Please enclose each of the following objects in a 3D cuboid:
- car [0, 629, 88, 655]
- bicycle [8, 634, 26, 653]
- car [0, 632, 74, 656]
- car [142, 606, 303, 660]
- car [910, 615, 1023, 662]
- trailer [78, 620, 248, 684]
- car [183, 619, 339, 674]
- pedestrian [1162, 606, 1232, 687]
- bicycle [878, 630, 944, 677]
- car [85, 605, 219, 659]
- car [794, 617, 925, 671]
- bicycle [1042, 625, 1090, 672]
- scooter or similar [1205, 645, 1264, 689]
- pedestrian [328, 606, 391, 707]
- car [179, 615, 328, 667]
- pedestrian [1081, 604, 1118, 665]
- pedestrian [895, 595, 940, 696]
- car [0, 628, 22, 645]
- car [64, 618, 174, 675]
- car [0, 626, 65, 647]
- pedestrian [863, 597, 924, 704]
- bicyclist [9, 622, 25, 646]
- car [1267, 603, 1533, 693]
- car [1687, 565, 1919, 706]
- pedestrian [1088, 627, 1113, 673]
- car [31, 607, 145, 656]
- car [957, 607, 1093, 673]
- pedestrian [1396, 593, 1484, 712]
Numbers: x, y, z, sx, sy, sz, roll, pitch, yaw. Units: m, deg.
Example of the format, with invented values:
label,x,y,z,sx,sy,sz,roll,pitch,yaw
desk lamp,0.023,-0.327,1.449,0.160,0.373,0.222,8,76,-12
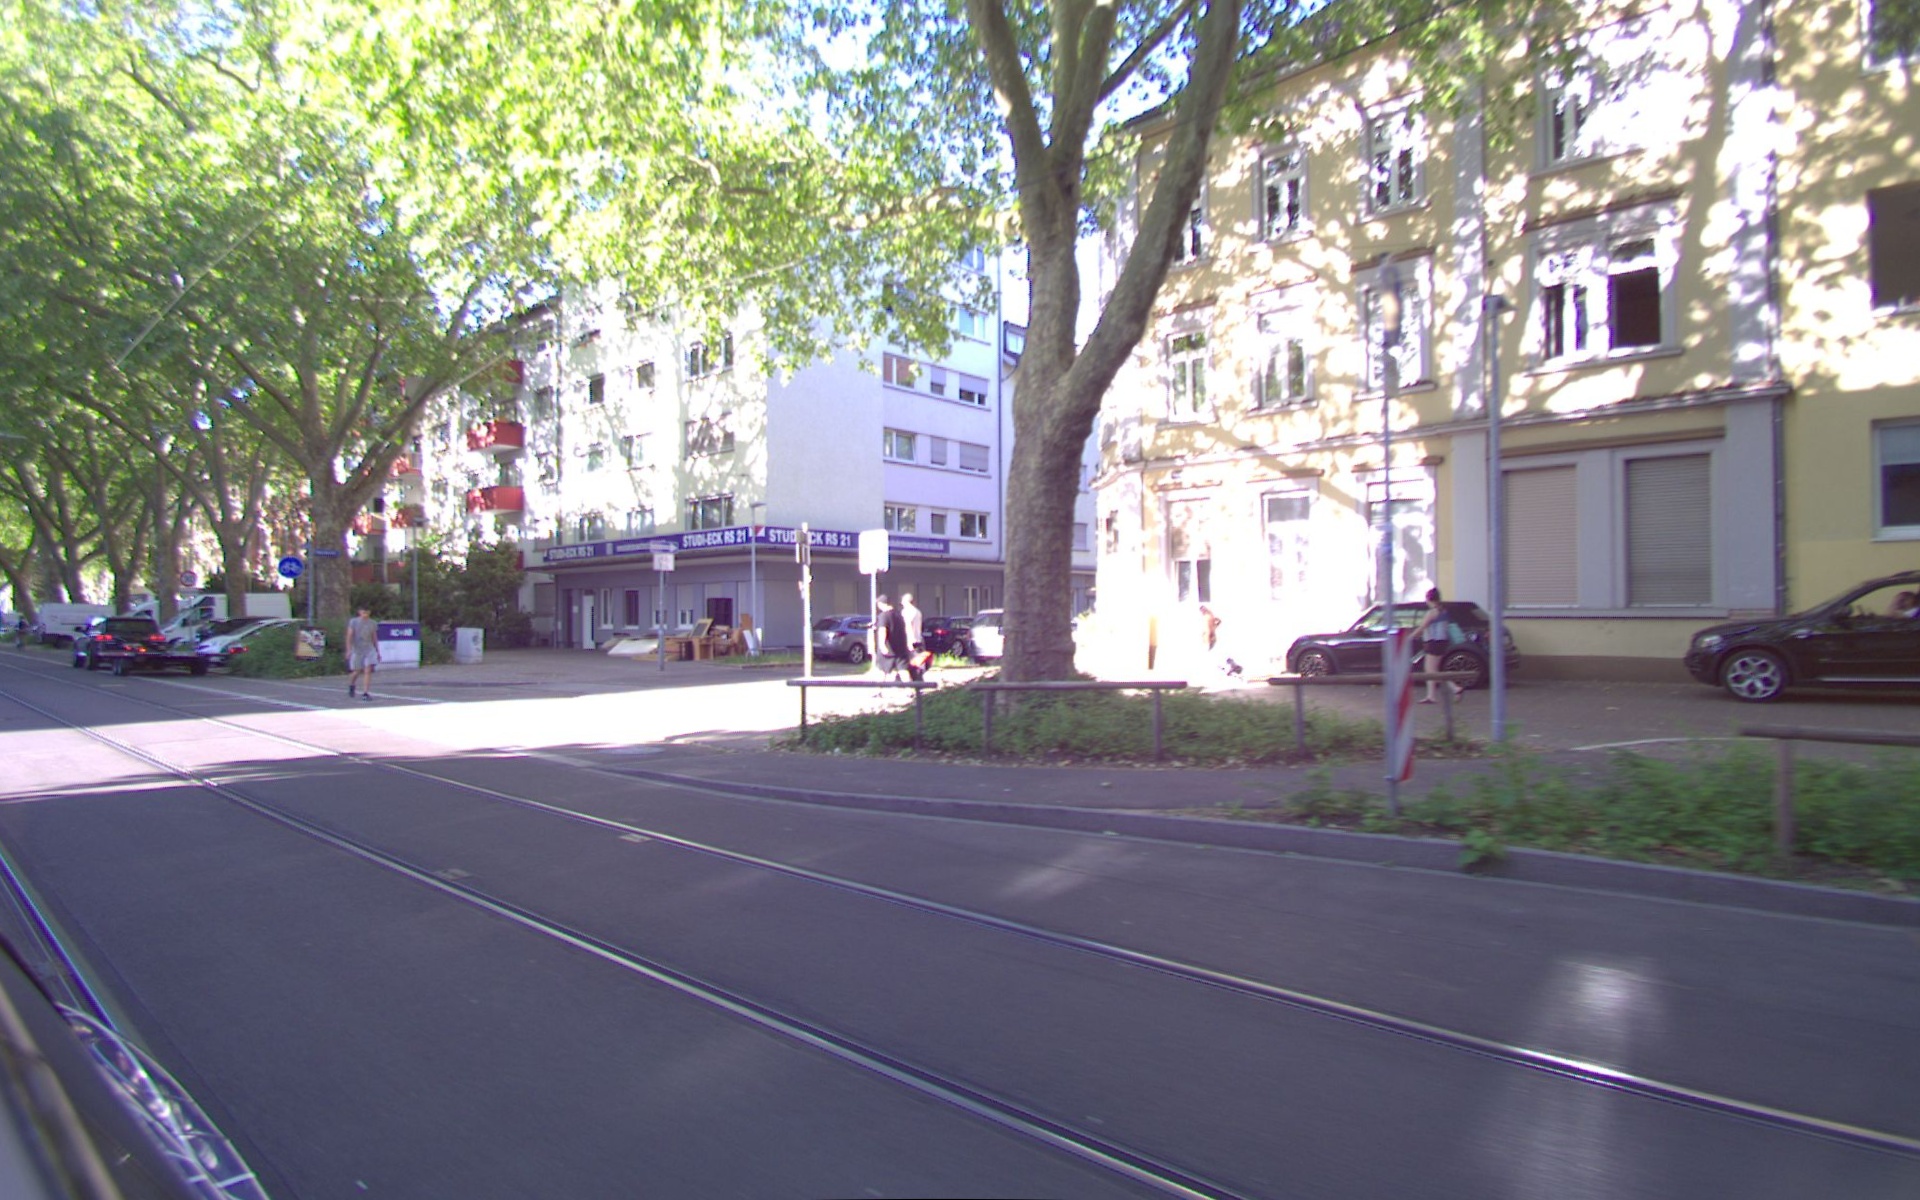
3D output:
label,x,y,z,sx,sy,sz,roll,pitch,yaw
car,-58.490,2.653,64.666,1.998,1.478,3.947,-1,0,40
bicycle,-47.709,2.198,51.186,1.556,0.913,0.527,-1,0,42
car,-64.225,3.057,70.134,1.998,1.478,3.947,-1,0,40
car,-30.550,1.312,42.072,1.996,2.010,5.073,-1,0,37
car,0.272,1.349,36.482,1.896,1.619,4.099,-1,-1,41
trailer,-22.740,1.419,28.755,6.578,1.644,2.421,-1,-3,40
car,-23.210,1.501,33.704,1.907,1.622,3.947,-1,0,40
pedestrian,4.530,0.866,19.368,1.068,1.490,0.765,-1,0,40
bicycle,-1.198,1.304,25.105,0.654,1.070,1.846,-1,0,33
car,-37.626,1.425,47.197,1.999,2.323,4.601,-1,0,41
car,-3.173,1.376,32.653,1.834,1.489,4.099,1,1,41
bicycle,2.732,1.219,25.906,0.652,1.070,1.853,-5,-2,23
scooter or similar,5.010,1.214,18.500,0.896,0.759,0.523,-1,0,40
pedestrian,-11.066,1.017,18.651,0.798,1.805,0.693,-1,0,29
car,-24.948,1.398,35.810,1.998,1.657,3.947,-1,0,40
pedestrian,4.087,0.995,29.597,0.796,1.721,0.775,-1,0,35
pedestrian,-0.777,0.807,18.367,0.658,1.793,0.726,0,0,-17
car,-89.524,3.396,93.593,1.791,1.478,3.947,-1,0,40
car,-26.845,1.466,32.277,4.178,1.696,1.903,-1,-3,40
car,-71.335,2.770,77.515,1.998,1.478,3.947,-1,0,40
pedestrian,-1.143,0.847,17.394,0.733,1.770,0.731,-1,0,34
bicyclist,-47.683,1.712,51.161,0.666,1.222,0.527,-1,0,42
car,7.697,0.784,17.888,3.996,1.398,1.761,-1,0,39
car,12.555,0.436,13.269,4.696,1.750,1.971,-1,0,44
pedestrian,3.296,1.175,23.735,0.540,1.048,0.542,-1,0,8
car,-48.770,1.718,56.681,1.999,2.552,4.601,-1,0,41
car,1.919,1.118,29.105,1.799,1.650,3.960,-6,-3,40
pedestrian,6.969,0.734,14.700,1.008,1.650,0.704,-1,0,39
